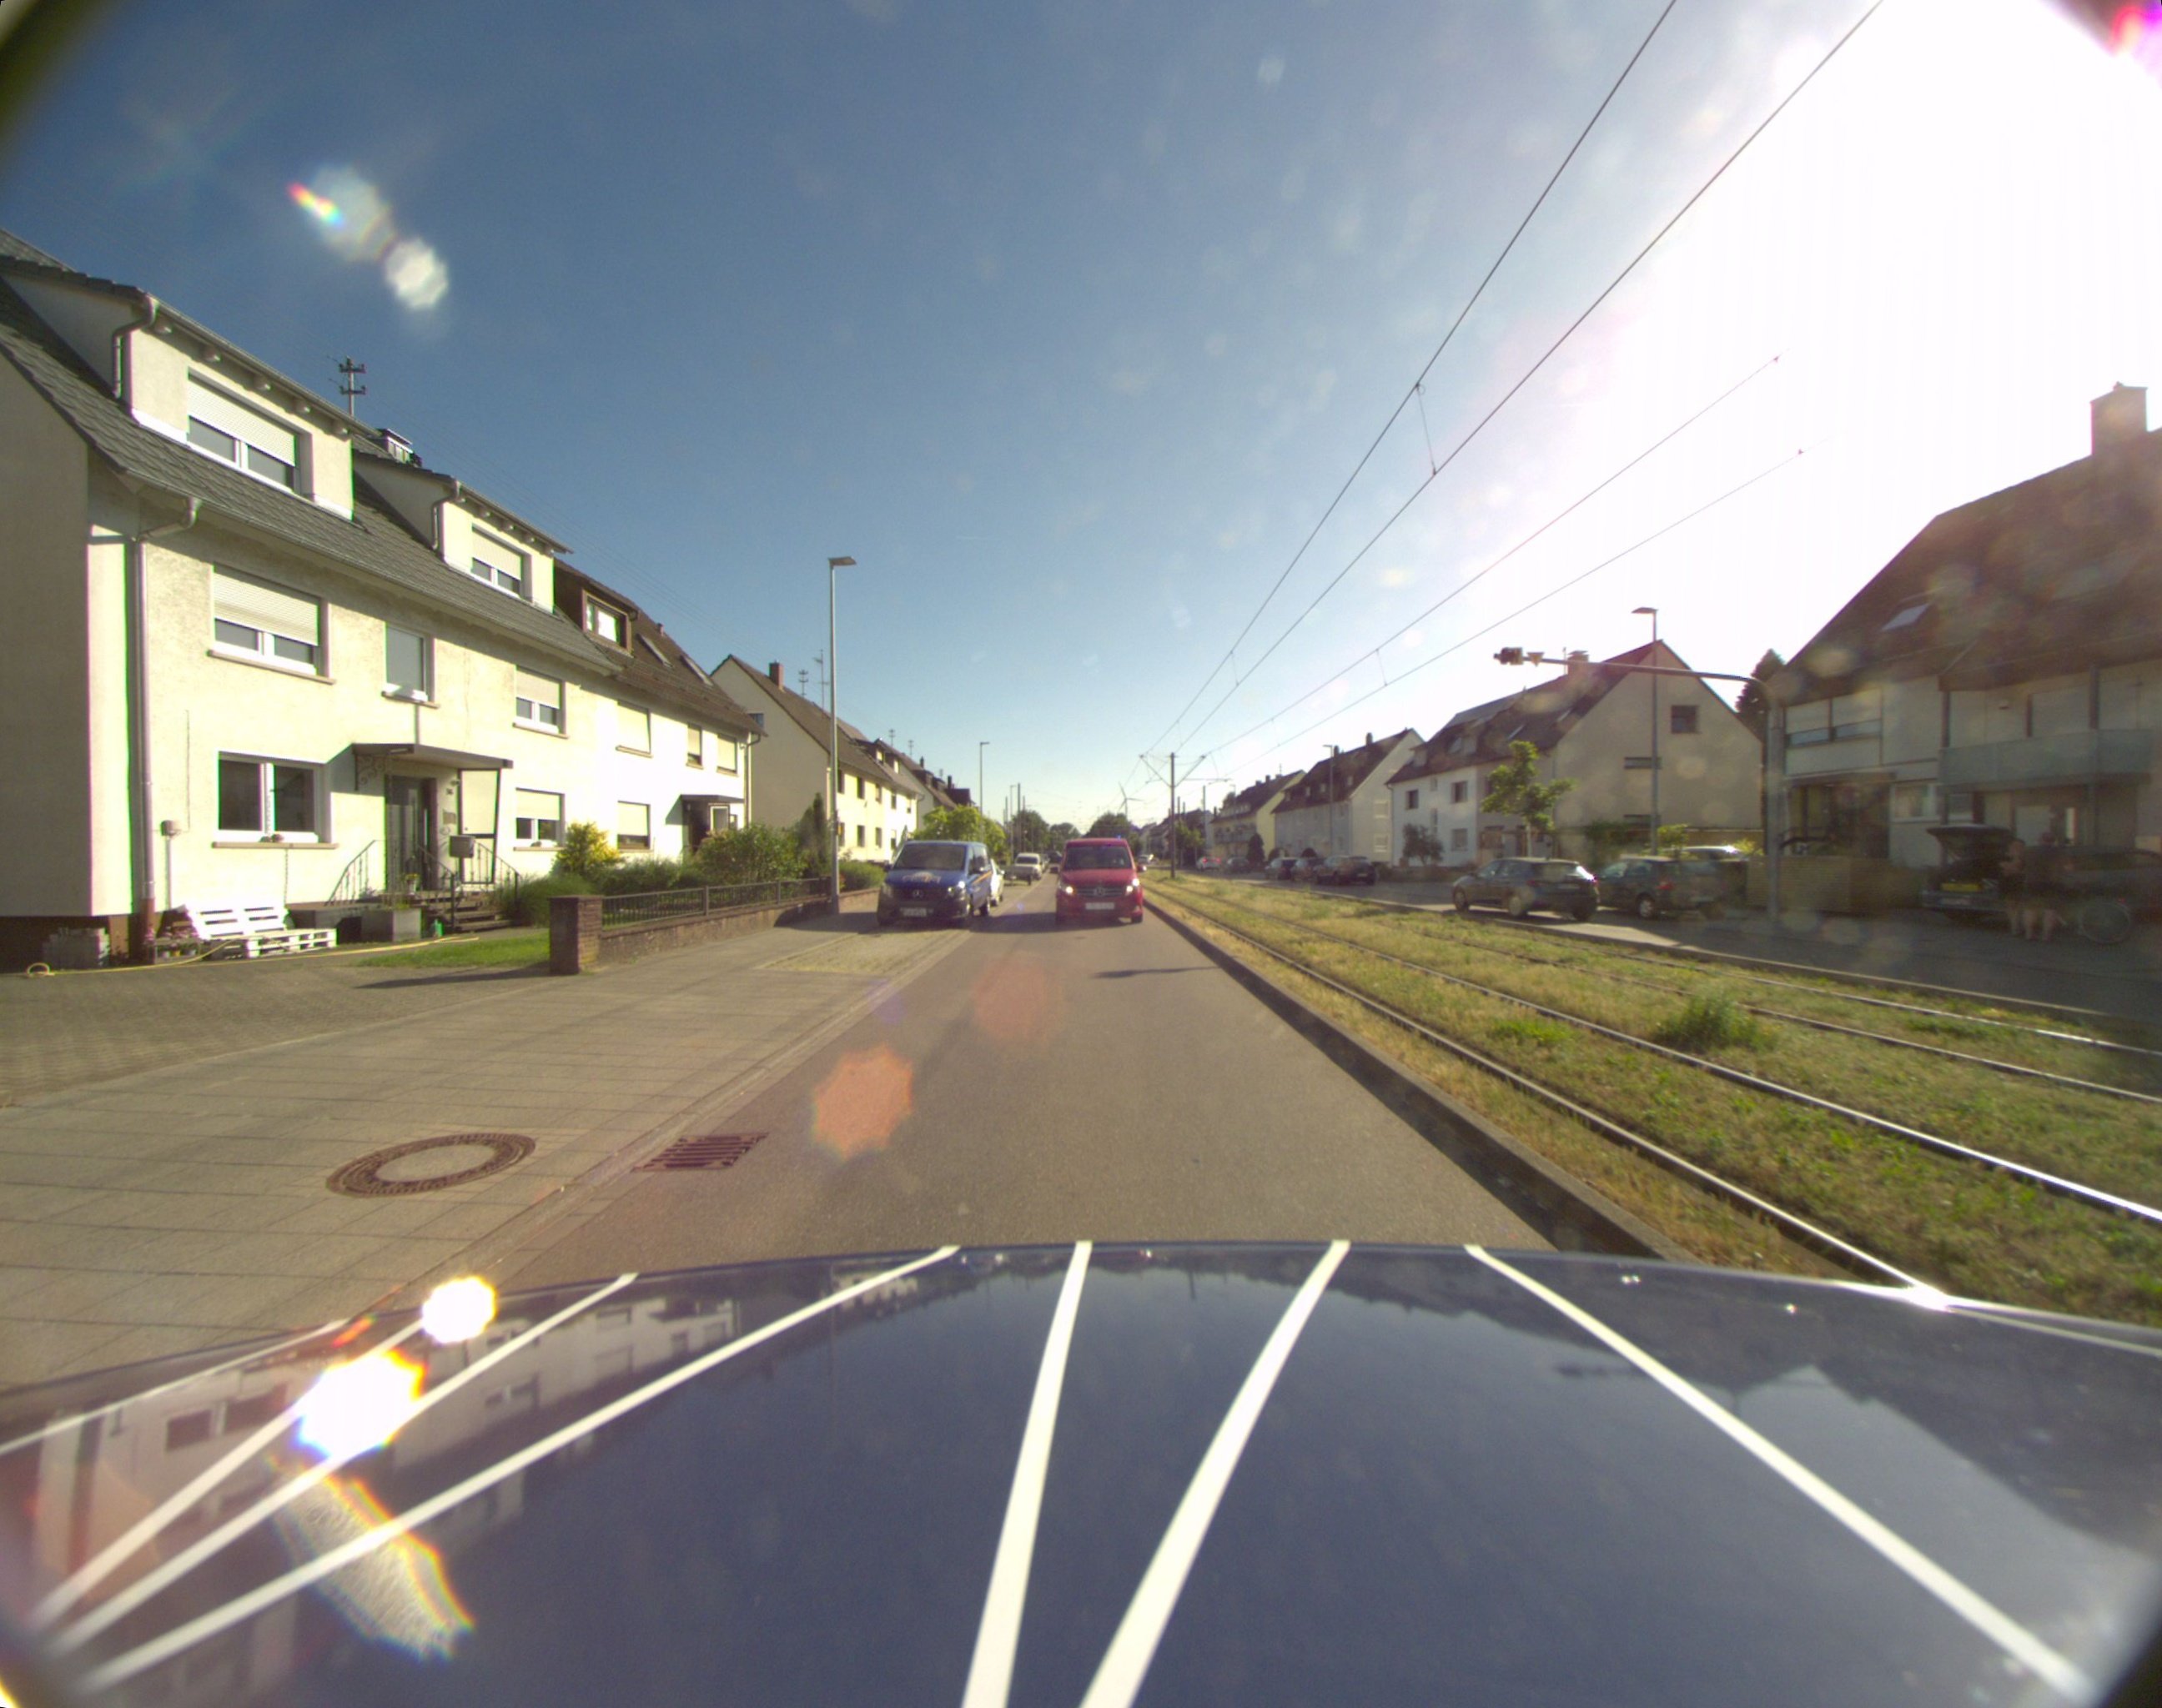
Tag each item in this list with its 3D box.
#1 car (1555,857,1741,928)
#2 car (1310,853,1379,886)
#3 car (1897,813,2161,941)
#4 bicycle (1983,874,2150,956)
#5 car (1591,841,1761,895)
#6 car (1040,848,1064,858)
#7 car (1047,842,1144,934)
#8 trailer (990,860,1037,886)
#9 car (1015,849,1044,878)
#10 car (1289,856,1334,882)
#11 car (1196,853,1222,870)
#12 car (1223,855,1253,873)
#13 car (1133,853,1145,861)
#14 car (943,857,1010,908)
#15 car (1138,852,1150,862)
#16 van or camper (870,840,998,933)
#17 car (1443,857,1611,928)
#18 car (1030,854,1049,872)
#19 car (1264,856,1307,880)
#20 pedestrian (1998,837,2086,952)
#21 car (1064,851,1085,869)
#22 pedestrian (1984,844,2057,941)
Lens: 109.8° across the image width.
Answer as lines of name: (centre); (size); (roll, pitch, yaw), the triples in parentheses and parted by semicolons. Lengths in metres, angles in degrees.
car: (13.795, 0.850, 18.814); (1.623, 1.503, 4.085); (-2, 0, 2)
car: (13.829, 0.767, 40.175); (1.925, 1.551, 4.858); (-2, 1, -1)
car: (18.778, 0.377, 14.434); (4.471, 2.069, 1.787); (-4, 1, 2)
bicycle: (16.113, 0.958, 12.502); (0.478, 1.156, 1.872); (-2, 1, 6)
car: (20.775, 0.477, 26.659); (4.403, 1.773, 1.970); (-1, 0, 0)
car: (-4.815, -0.110, 126.016); (3.728, 1.555, 1.706); (-2, 1, 5)
car: (0.311, 0.683, 18.661); (1.998, 1.889, 5.389); (-1, 1, 0)
trailer: (-3.538, 0.967, 41.004); (2.278, 1.124, 6.434); (2, 0, -3)
car: (-3.450, 0.609, 51.370); (1.796, 1.752, 4.583); (2, 0, -2)
car: (13.731, 0.874, 45.463); (1.469, 1.459, 3.998); (0, 0, -1)
car: (13.011, 0.755, 77.374); (1.831, 1.522, 4.092); (-2, 1, 0)
car: (13.457, 0.809, 65.437); (1.704, 1.389, 4.092); (-2, 1, 0)
car: (11.564, 0.532, 152.690); (2.017, 1.561, 4.092); (-2, 1, 0)
car: (-3.336, 0.859, 25.029); (1.735, 1.450, 5.284); (0, 0, -3)
car: (10.183, 0.432, 123.027); (1.704, 1.455, 4.092); (-2, 1, 0)
van or camper: (-3.249, 0.622, 17.995); (1.954, 1.836, 5.582); (1, 1, 0)
car: (10.817, 0.856, 18.816); (1.693, 1.467, 4.082); (2, 1, 0)
car: (-3.757, 0.767, 69.615); (1.682, 1.472, 4.388); (2, 1, -2)
car: (13.595, 0.889, 50.730); (1.658, 1.447, 4.400); (-2, 1, 0)
pedestrian: (15.726, 0.639, 12.446); (0.617, 1.805, 0.678); (-2, 1, -8)
car: (-0.663, 0.545, 73.561); (1.862, 1.592, 4.327); (2, 1, -2)
pedestrian: (16.680, 0.674, 13.497); (0.552, 1.678, 0.624); (-2, 1, 16)
